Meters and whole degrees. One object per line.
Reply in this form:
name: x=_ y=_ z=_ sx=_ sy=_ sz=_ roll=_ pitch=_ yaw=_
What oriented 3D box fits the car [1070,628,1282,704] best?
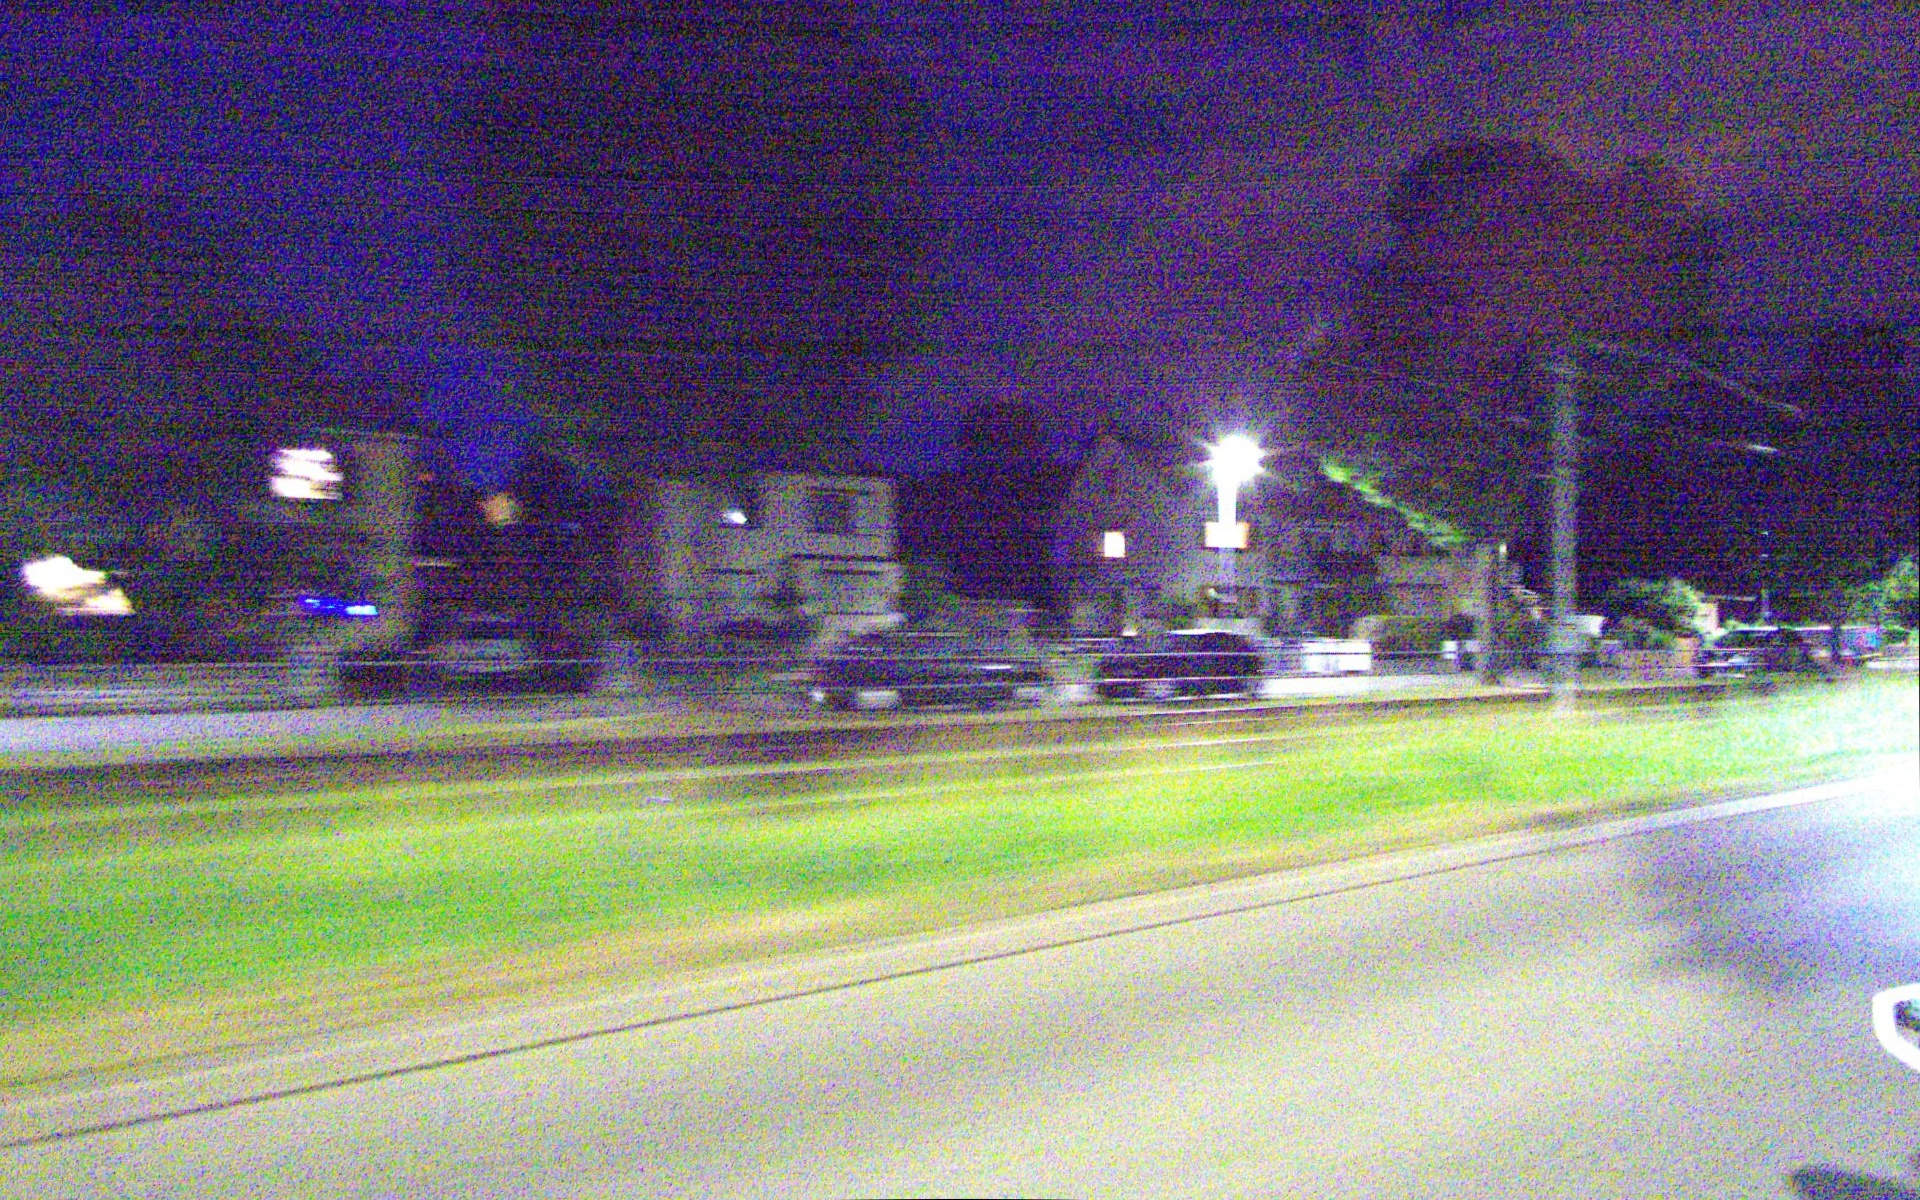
car: x=4.365 y=1.323 z=20.188 sx=4.097 sy=1.382 sz=1.721 roll=2 pitch=-5 yaw=-30

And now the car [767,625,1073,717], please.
car: x=-0.641 y=1.207 z=17.215 sx=4.921 sy=1.382 sz=1.894 roll=2 pitch=-4 yaw=-28

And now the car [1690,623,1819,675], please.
car: x=25.998 y=1.596 z=32.852 sx=4.480 sy=1.597 sz=1.710 roll=2 pitch=-3 yaw=-29

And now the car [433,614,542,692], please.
car: x=-11.156 y=1.180 z=23.597 sx=1.868 sy=1.563 sz=3.965 roll=2 pitch=0 yaw=-32

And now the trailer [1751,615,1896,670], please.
trailer: x=30.435 y=1.515 z=35.372 sx=5.604 sy=1.804 sz=2.016 roll=1 pitch=-3 yaw=-29
